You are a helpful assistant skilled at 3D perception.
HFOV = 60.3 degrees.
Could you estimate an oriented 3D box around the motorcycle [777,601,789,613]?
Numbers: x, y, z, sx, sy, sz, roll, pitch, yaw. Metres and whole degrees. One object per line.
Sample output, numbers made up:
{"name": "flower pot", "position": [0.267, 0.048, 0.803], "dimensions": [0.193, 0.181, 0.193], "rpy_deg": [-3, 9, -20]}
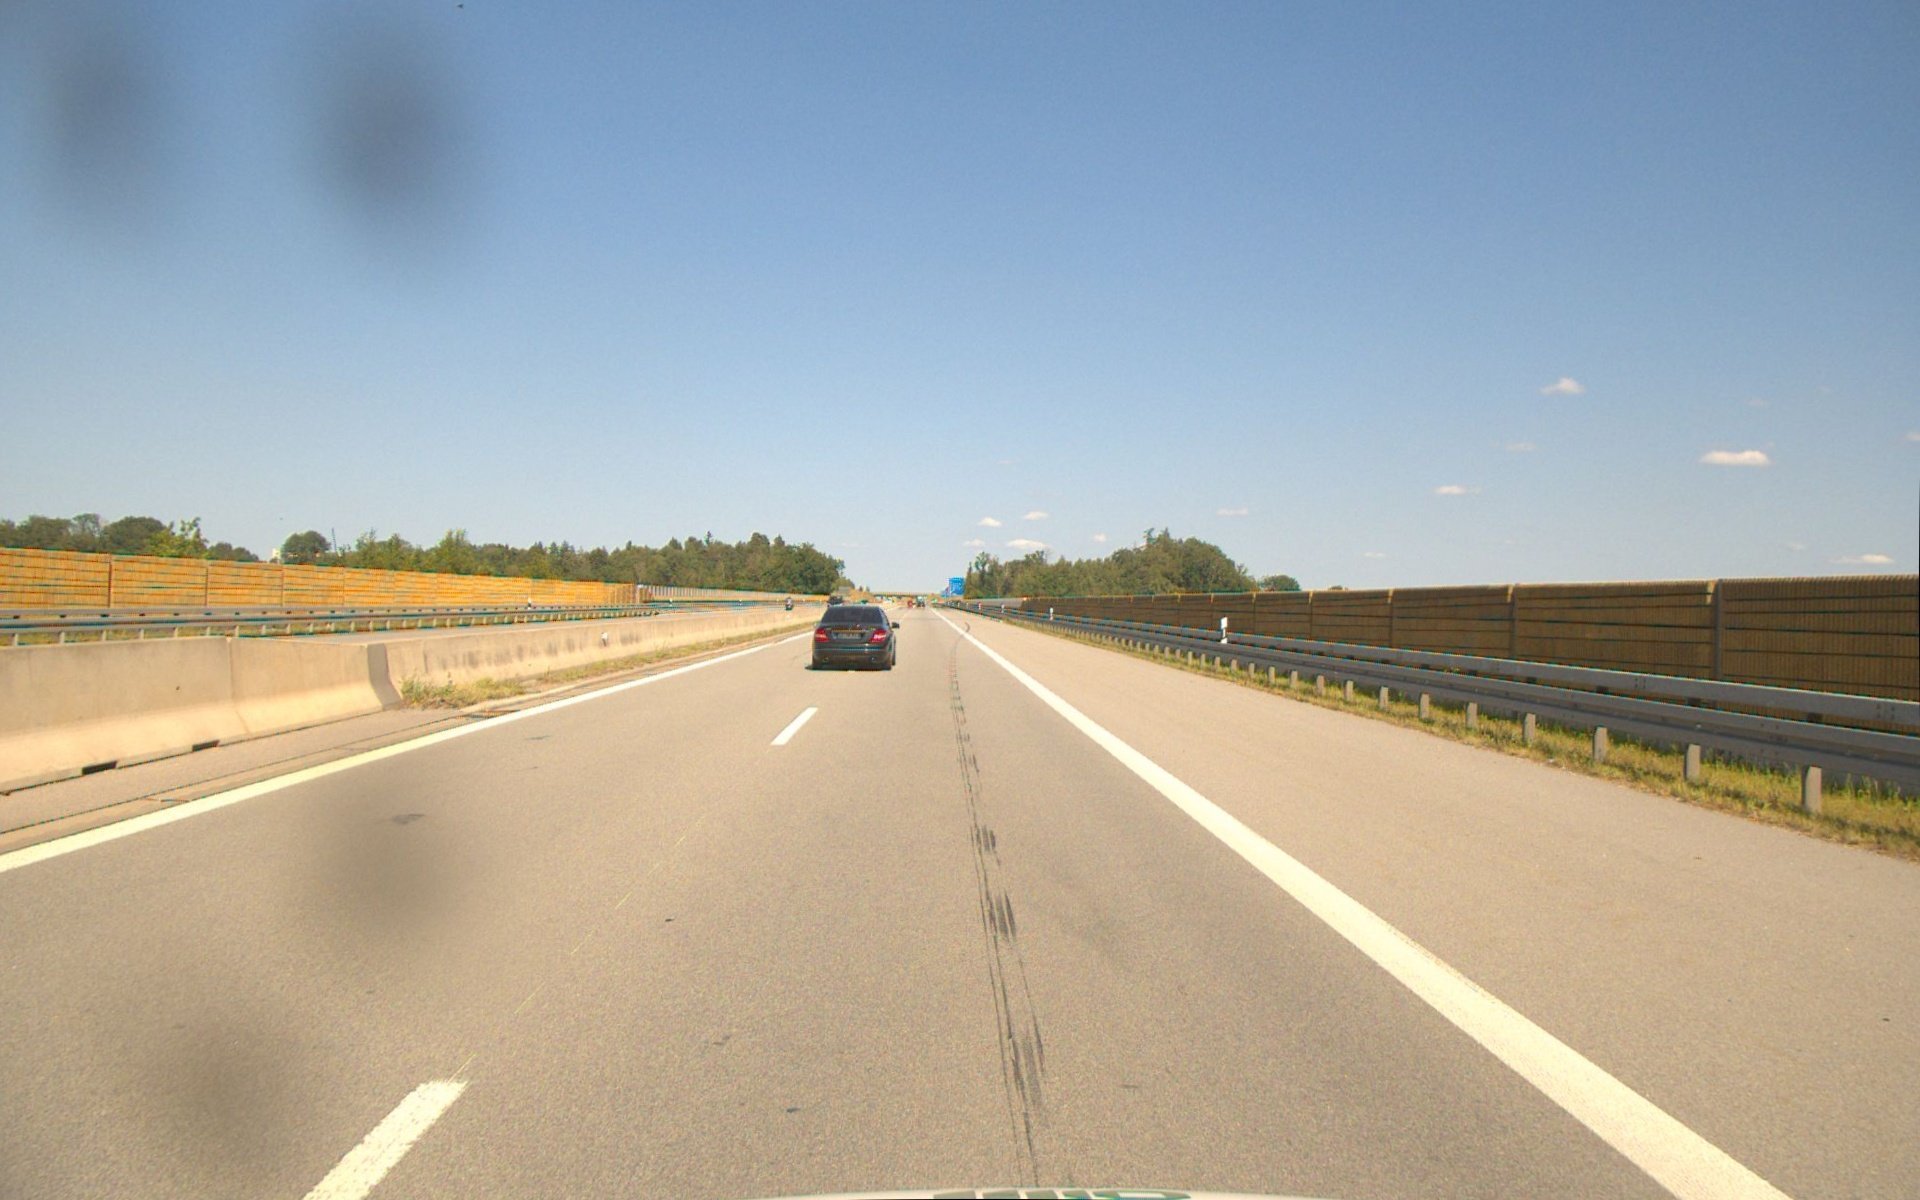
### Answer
{"name": "motorcycle", "position": [-18.710, 0.720, 175.278], "dimensions": [0.992, 1.187, 2.867], "rpy_deg": [1, 0, -1]}

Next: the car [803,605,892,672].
{"name": "car", "position": [-2.458, 0.821, 36.876], "dimensions": [1.754, 1.398, 3.915], "rpy_deg": [1, 0, -1]}

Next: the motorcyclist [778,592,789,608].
{"name": "motorcyclist", "position": [-18.702, 0.013, 175.208], "dimensions": [0.992, 1.591, 1.428], "rpy_deg": [1, -1, -1]}
